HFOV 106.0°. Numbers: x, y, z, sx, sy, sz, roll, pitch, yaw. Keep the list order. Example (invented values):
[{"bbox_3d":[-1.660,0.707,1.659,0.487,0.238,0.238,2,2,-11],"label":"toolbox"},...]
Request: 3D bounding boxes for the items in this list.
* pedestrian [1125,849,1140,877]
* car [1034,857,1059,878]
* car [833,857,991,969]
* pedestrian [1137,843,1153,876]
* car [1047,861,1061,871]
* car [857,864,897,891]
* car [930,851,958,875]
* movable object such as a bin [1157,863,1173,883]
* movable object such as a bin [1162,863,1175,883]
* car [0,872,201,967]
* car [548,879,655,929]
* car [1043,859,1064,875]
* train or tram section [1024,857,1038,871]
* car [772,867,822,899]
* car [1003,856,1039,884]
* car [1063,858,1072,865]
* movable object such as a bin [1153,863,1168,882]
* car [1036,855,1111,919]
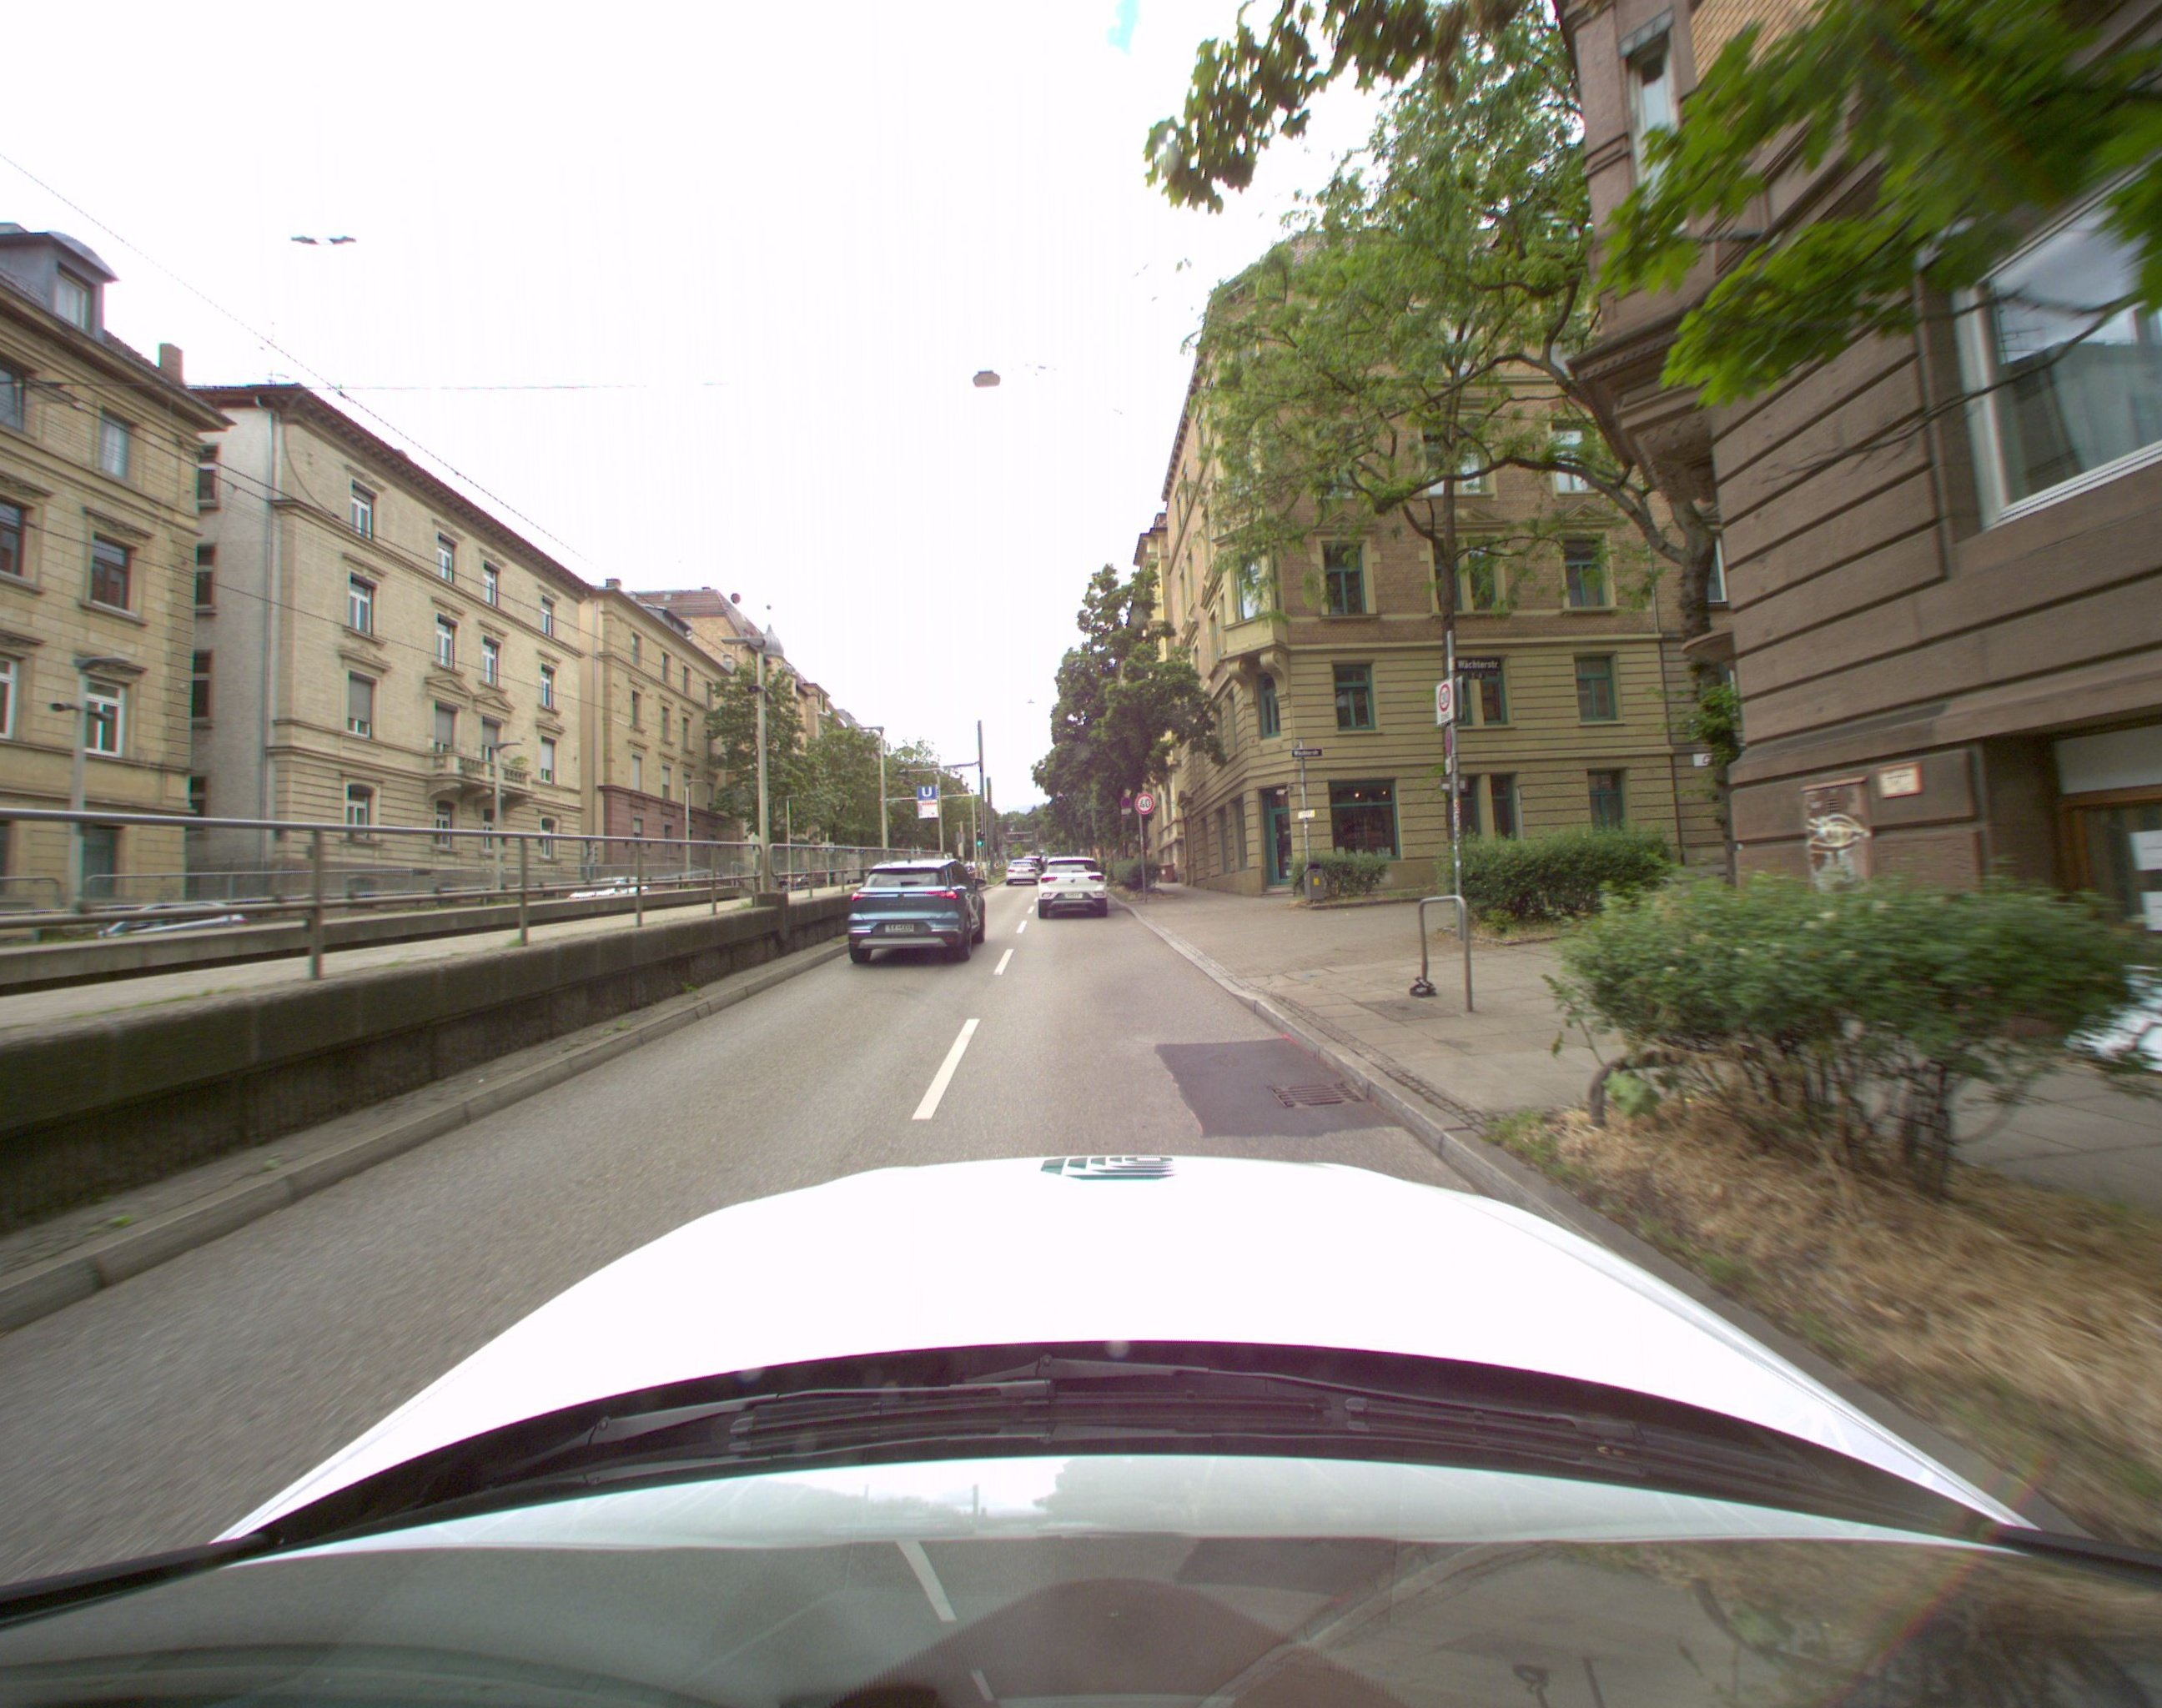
[{"bbox_3d":[2.952,0.522,46.730,0.684,1.574,1.215,-4,0,-2],"label":"pedestrian"},{"bbox_3d":[-2.673,1.027,63.978,1.830,1.546,4.191,-1,-1,-1],"label":"car"},{"bbox_3d":[-2.621,0.853,13.622,1.830,1.546,4.191,-1,-1,-1],"label":"car"},{"bbox_3d":[3.649,0.311,46.651,0.684,1.829,1.120,-4,-1,-2],"label":"pedestrian"},{"bbox_3d":[-4.318,1.938,128.771,2.063,1.546,4.189,-1,-1,-3],"label":"car"},{"bbox_3d":[-14.707,1.665,58.898,1.704,1.735,4.574,-3,0,-1],"label":"car"},{"bbox_3d":[-16.748,1.135,99.689,2.386,2.699,6.512,-4,0,-2],"label":"car"},{"bbox_3d":[4.071,0.902,39.610,0.505,0.919,0.487,-4,-1,-43],"label":"movable object such as a bin"},{"bbox_3d":[4.192,0.895,38.960,0.496,0.919,0.446,-3,0,18],"label":"movable object such as a bin"},{"bbox_3d":[-19.287,1.205,14.949,1.873,1.528,3.997,-3,0,-2],"label":"car"},{"bbox_3d":[-19.163,1.954,32.786,1.931,1.679,3.997,-4,0,-2],"label":"car"},{"bbox_3d":[-2.967,1.354,85.868,2.064,1.546,4.187,-1,-1,-4],"label":"car"},{"bbox_3d":[-13.105,2.590,214.924,2.987,3.349,13.433,-2,-1,-1],"label":"train or tram section"},{"bbox_3d":[-18.016,1.794,51.869,1.845,1.860,4.133,-3,0,-4],"label":"car"},{"bbox_3d":[-3.482,0.930,47.807,1.830,1.546,4.191,-1,-1,-1],"label":"car"},{"bbox_3d":[-3.289,1.891,198.305,2.065,1.546,4.185,-1,-1,-5],"label":"car"},{"bbox_3d":[3.931,0.906,40.195,0.609,0.919,0.493,-5,-1,0],"label":"movable object such as a bin"},{"bbox_3d":[-0.269,0.834,22.122,1.831,1.546,4.189,-1,-1,-3],"label":"car"}]
